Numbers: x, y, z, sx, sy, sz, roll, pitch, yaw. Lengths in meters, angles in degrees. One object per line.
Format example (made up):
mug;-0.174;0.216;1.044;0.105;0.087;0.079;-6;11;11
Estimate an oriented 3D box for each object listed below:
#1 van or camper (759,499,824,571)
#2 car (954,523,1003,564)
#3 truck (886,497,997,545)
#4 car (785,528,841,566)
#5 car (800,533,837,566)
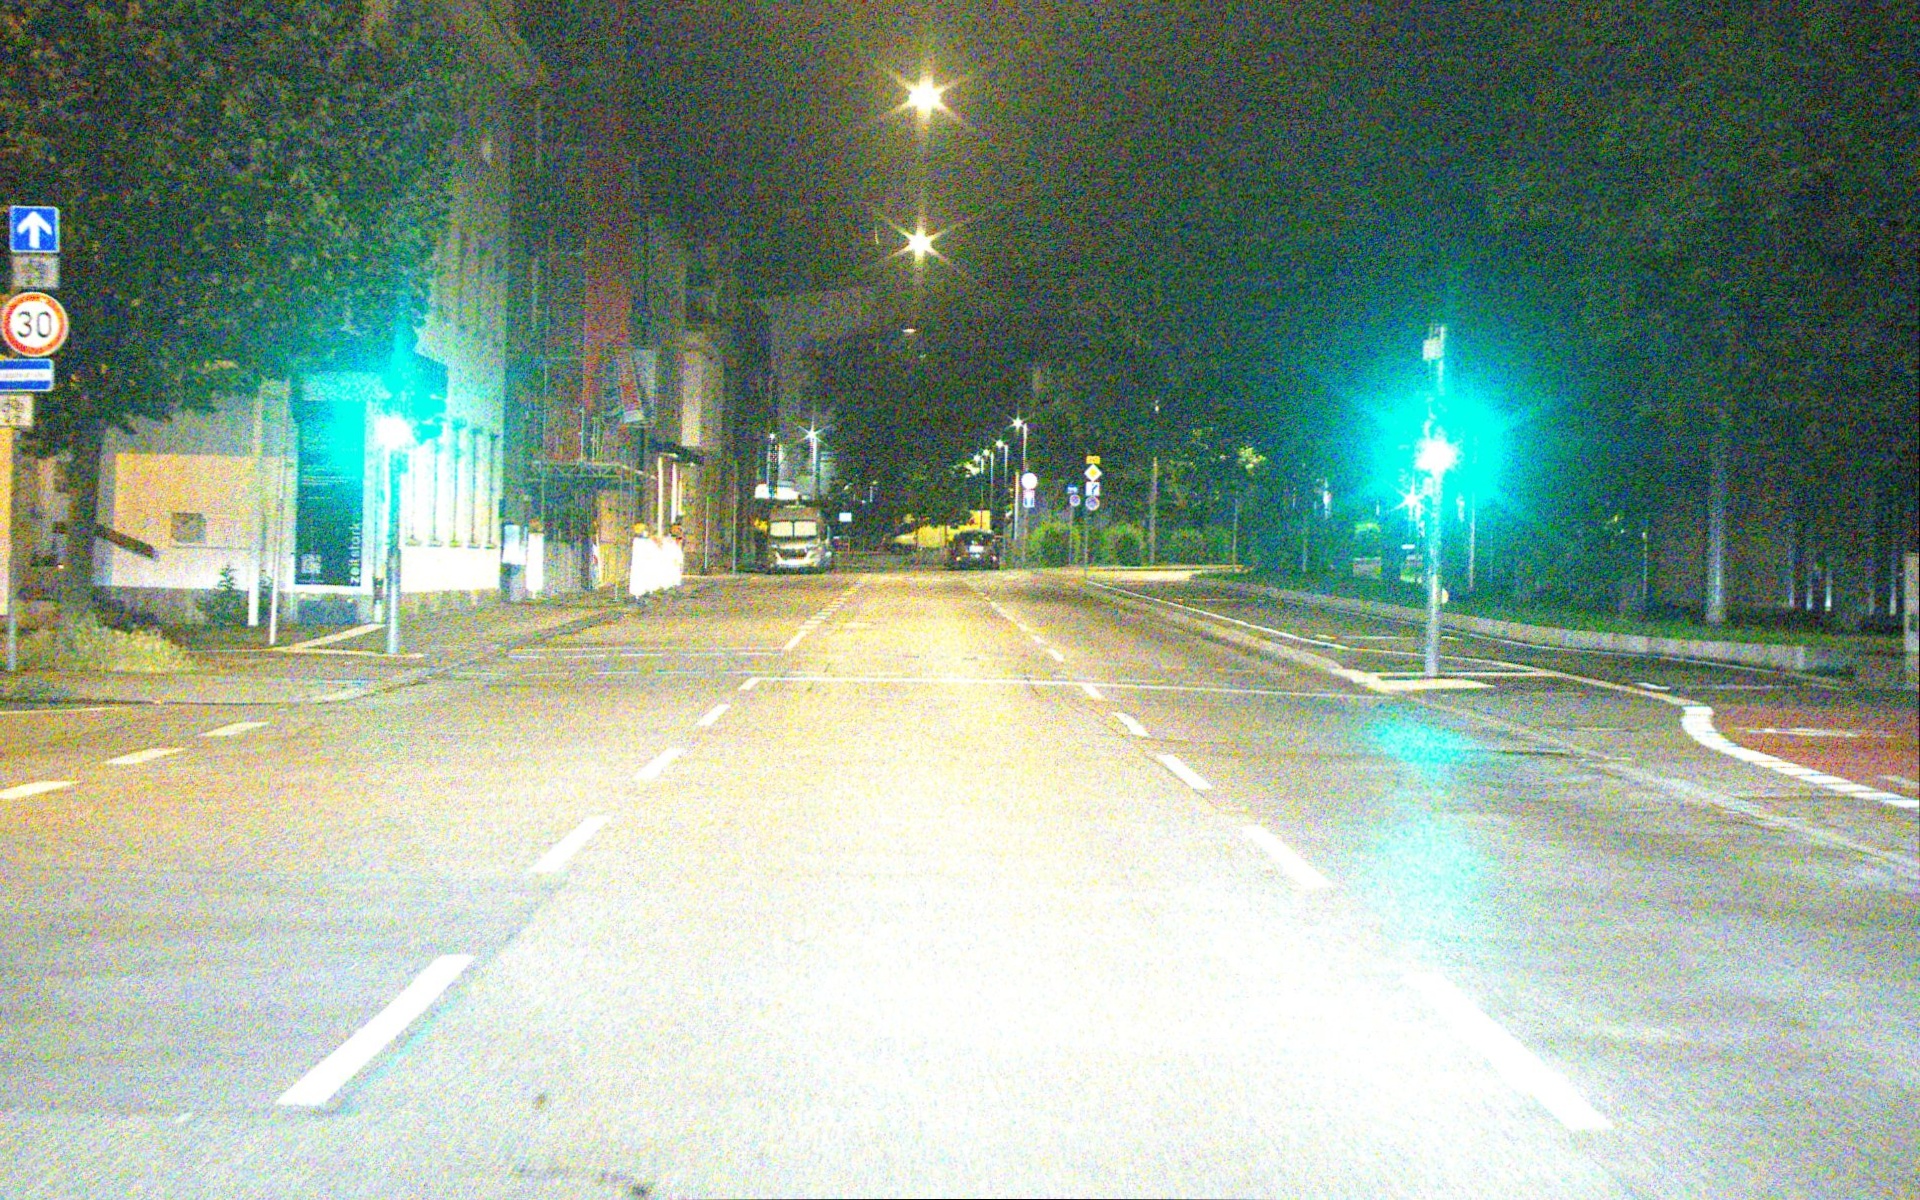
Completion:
van or camper;-6.194;-2.379;127.069;2.158;2.527;6.227;-1;1;-1
car;0.743;-2.246;137.579;1.884;1.597;4.107;-1;1;1
truck;-1.168;-4.945;215.138;6.775;2.834;2.000;1;1;-3
car;-5.940;-2.119;138.289;1.838;1.502;4.743;0;1;-7
car;-6.809;-2.444;166.268;1.677;1.561;4.105;1;0;-1
